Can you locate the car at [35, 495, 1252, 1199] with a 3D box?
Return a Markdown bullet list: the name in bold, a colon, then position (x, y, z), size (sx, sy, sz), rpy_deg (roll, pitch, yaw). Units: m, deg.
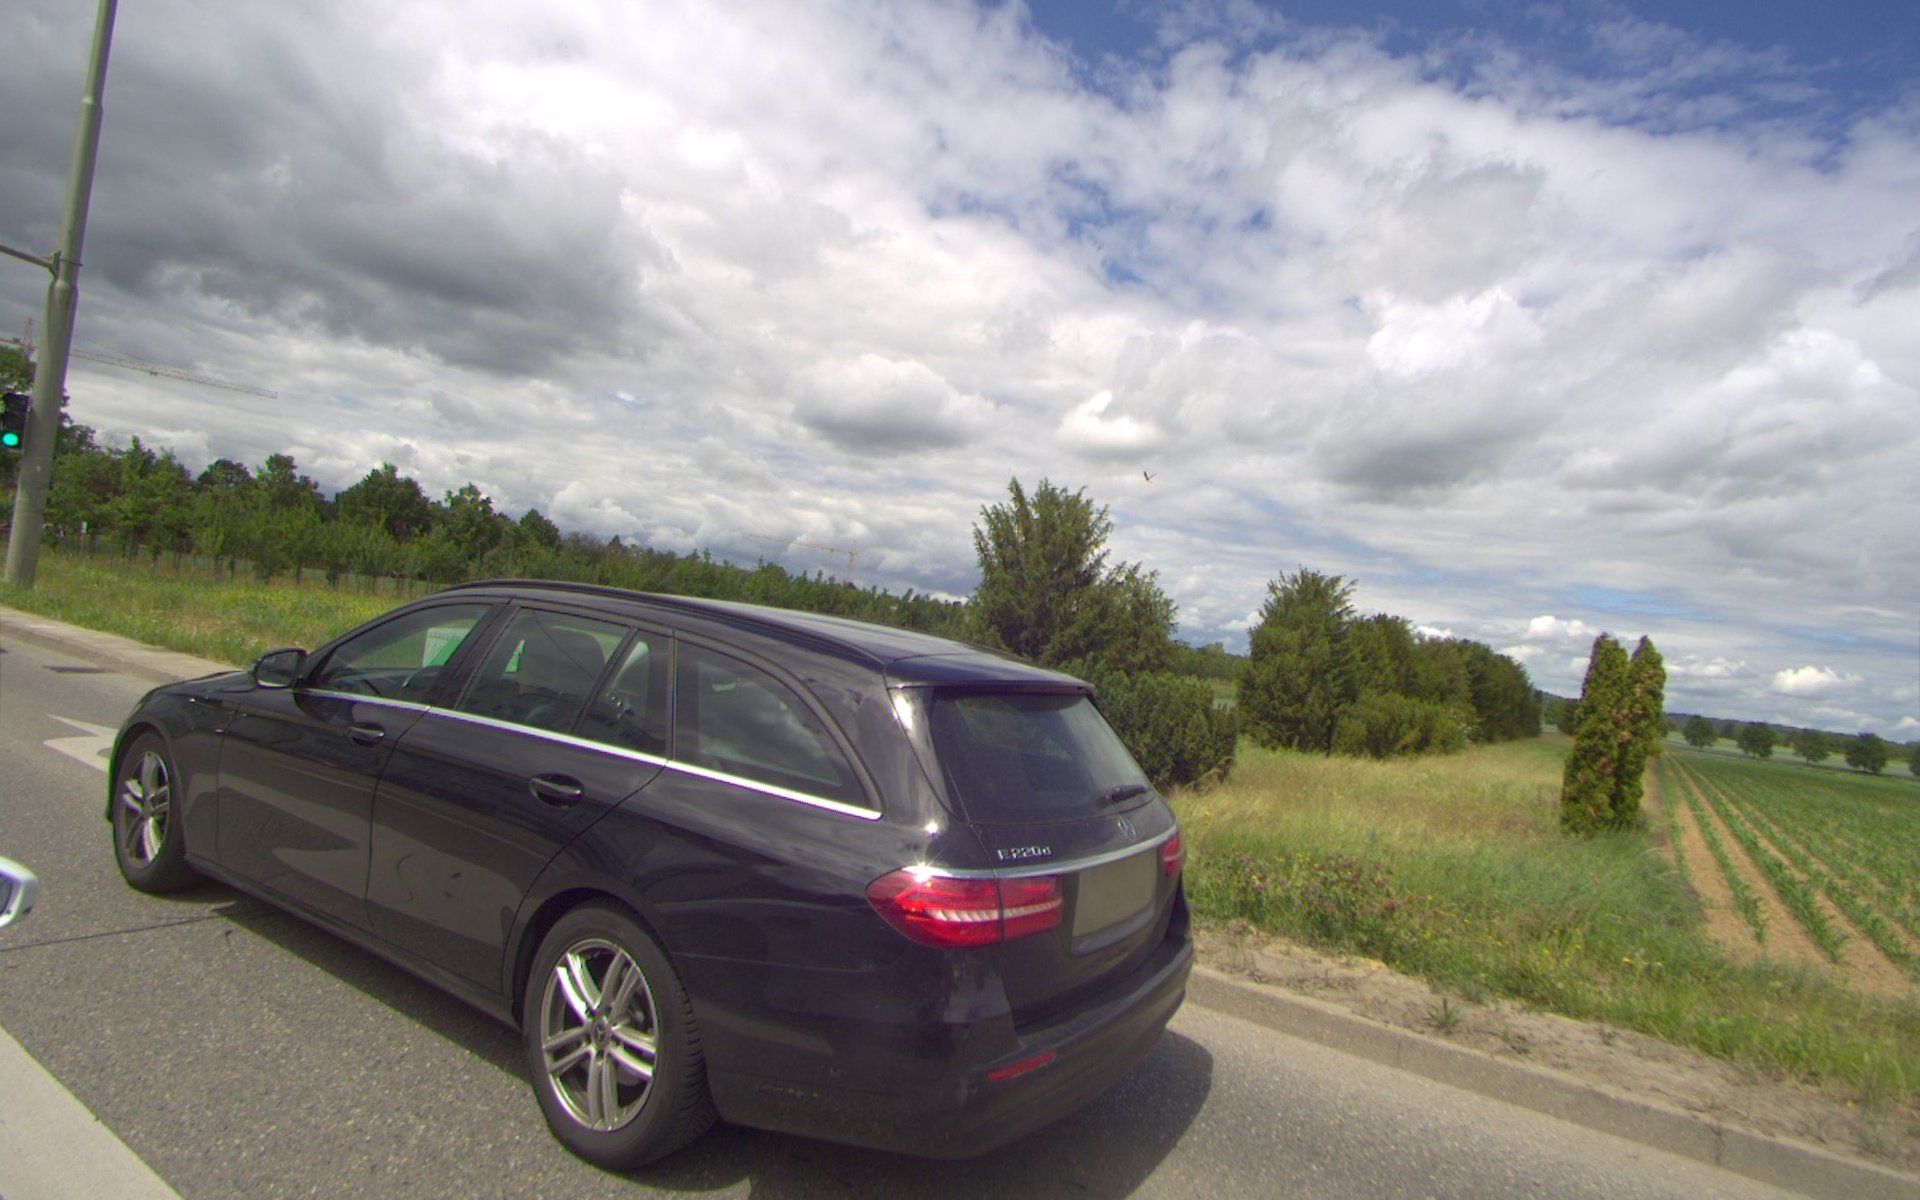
- **car**: position (-1.540, 0.675, 3.993), size (4.725, 1.556, 1.841), rpy_deg (8, 0, 32)
